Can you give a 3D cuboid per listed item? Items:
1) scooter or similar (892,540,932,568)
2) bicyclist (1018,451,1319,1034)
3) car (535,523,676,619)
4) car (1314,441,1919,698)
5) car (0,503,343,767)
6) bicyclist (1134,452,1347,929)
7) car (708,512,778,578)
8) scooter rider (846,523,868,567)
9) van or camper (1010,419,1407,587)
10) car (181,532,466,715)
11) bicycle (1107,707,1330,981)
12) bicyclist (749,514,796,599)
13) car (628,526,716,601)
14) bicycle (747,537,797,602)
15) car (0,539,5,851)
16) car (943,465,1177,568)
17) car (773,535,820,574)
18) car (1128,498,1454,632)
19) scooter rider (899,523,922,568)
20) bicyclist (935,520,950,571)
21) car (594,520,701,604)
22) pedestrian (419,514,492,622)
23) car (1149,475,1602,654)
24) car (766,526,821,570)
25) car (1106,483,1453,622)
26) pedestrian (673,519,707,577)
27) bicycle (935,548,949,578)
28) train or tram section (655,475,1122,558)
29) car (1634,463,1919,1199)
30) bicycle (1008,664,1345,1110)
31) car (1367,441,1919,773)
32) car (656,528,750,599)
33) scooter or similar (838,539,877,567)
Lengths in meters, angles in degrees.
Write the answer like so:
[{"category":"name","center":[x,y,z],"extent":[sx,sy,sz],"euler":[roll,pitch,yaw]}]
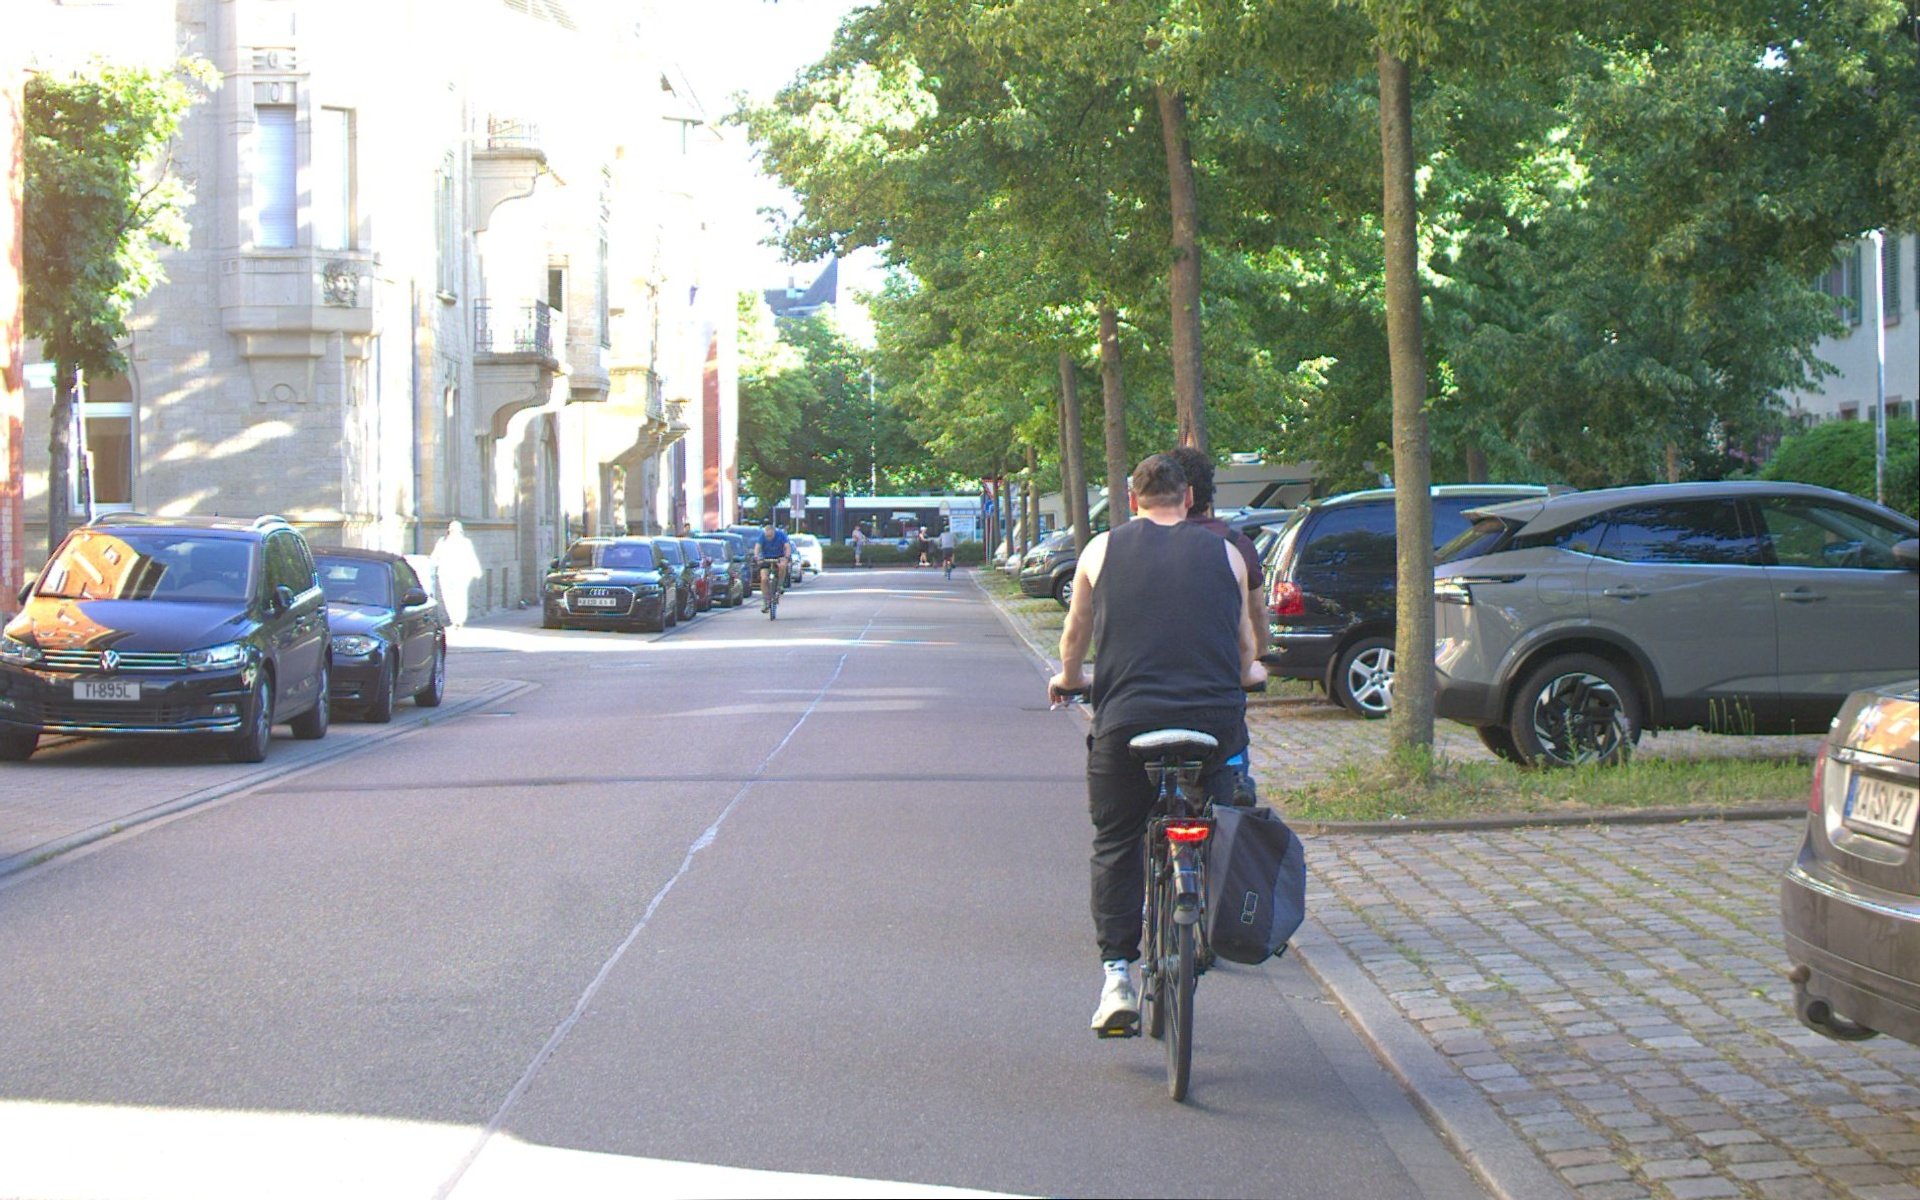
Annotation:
[{"category":"scooter or similar","center":[-1.983,-1.893,141.347],"extent":[1.598,1.143,0.678],"euler":[1,0,-5]},{"category":"bicyclist","center":[0.566,0.379,9.651],"extent":[0.730,1.542,0.884],"euler":[2,0,-1]},{"category":"car","center":[-5.694,-0.487,55.674],"extent":[1.811,1.422,4.898],"euler":[2,1,-1]},{"category":"car","center":[5.181,-0.258,26.842],"extent":[4.581,1.671,1.907],"euler":[-4,1,2]},{"category":"car","center":[-5.487,0.191,24.164],"extent":[1.669,1.675,4.351],"euler":[1,1,-2]},{"category":"bicyclist","center":[0.981,0.298,12.211],"extent":[0.689,1.621,0.998],"euler":[0,1,1]},{"category":"car","center":[-6.150,-1.585,97.746],"extent":[1.640,1.777,4.354],"euler":[2,2,0]},{"category":"scooter rider","center":[-4.343,-2.315,144.647],"extent":[0.871,1.835,0.671],"euler":[1,0,-5]},{"category":"van or camper","center":[4.606,-1.811,64.465],"extent":[7.147,2.638,2.464],"euler":[-4,1,2]},{"category":"car","center":[-5.418,0.158,29.734],"extent":[1.635,1.406,4.333],"euler":[2,1,0]},{"category":"bicycle","center":[0.896,0.836,12.295],"extent":[0.633,0.796,1.833],"euler":[-1,1,0]},{"category":"bicyclist","center":[-3.284,-0.758,60.213],"extent":[0.759,1.449,0.949],"euler":[-1,0,-1]},{"category":"car","center":[-5.797,-0.758,69.570],"extent":[1.628,1.448,3.838],"euler":[1,1,-3]},{"category":"bicycle","center":[-3.283,-0.538,60.209],"extent":[0.757,1.104,1.907],"euler":[-1,1,-1]},{"category":"car","center":[-5.328,0.485,14.429],"extent":[1.566,1.465,3.591],"euler":[1,2,1]},{"category":"car","center":[3.132,-2.640,109.067],"extent":[7.146,2.968,2.465],"euler":[-2,1,-3]},{"category":"car","center":[-6.295,-1.769,132.807],"extent":[1.583,1.371,4.131],"euler":[2,2,0]},{"category":"car","center":[4.326,-0.476,45.347],"extent":[4.068,1.471,1.694],"euler":[-3,2,1]},{"category":"scooter rider","center":[-2.034,-2.244,141.342],"extent":[0.871,1.835,0.671],"euler":[1,0,-5]},{"category":"bicyclist","center":[-0.607,-1.880,117.839],"extent":[0.486,1.738,0.656],"euler":[1,0,0]},{"category":"car","center":[-5.604,-0.680,61.997],"extent":[1.696,1.448,4.028],"euler":[0,1,-2]},{"category":"pedestrian","center":[-7.582,-0.491,51.691],"extent":[0.888,1.571,1.053],"euler":[-2,2,0]},{"category":"car","center":[4.501,-0.397,37.579],"extent":[4.538,1.628,1.813],"euler":[-4,1,-6]},{"category":"car","center":[-5.572,-1.757,115.191],"extent":[1.583,1.339,4.131],"euler":[2,2,0]},{"category":"car","center":[4.393,-0.663,47.743],"extent":[4.619,1.703,1.833],"euler":[-2,1,1]},{"category":"pedestrian","center":[-8.112,-1.567,103.384],"extent":[0.938,1.736,0.735],"euler":[1,0,1]},{"category":"bicycle","center":[-0.617,-1.260,117.730],"extent":[0.498,1.002,1.474],"euler":[0,0,0]},{"category":"train or tram section","center":[-3.467,-4.166,175.107],"extent":[23.799,3.696,4.287],"euler":[1,1,-22]},{"category":"car","center":[4.152,0.341,7.610],"extent":[4.837,1.534,1.895],"euler":[-4,1,-2]},{"category":"bicycle","center":[0.557,0.740,9.599],"extent":[0.737,1.050,1.956],"euler":[2,0,-2]},{"category":"car","center":[4.723,-0.037,19.558],"extent":[4.475,1.628,1.875],"euler":[-4,1,-1]},{"category":"car","center":[-5.586,-0.822,75.188],"extent":[1.675,1.425,4.551],"euler":[2,2,0]},{"category":"scooter or similar","center":[-4.311,-1.965,144.647],"extent":[1.598,1.143,0.678],"euler":[1,0,-5]}]
